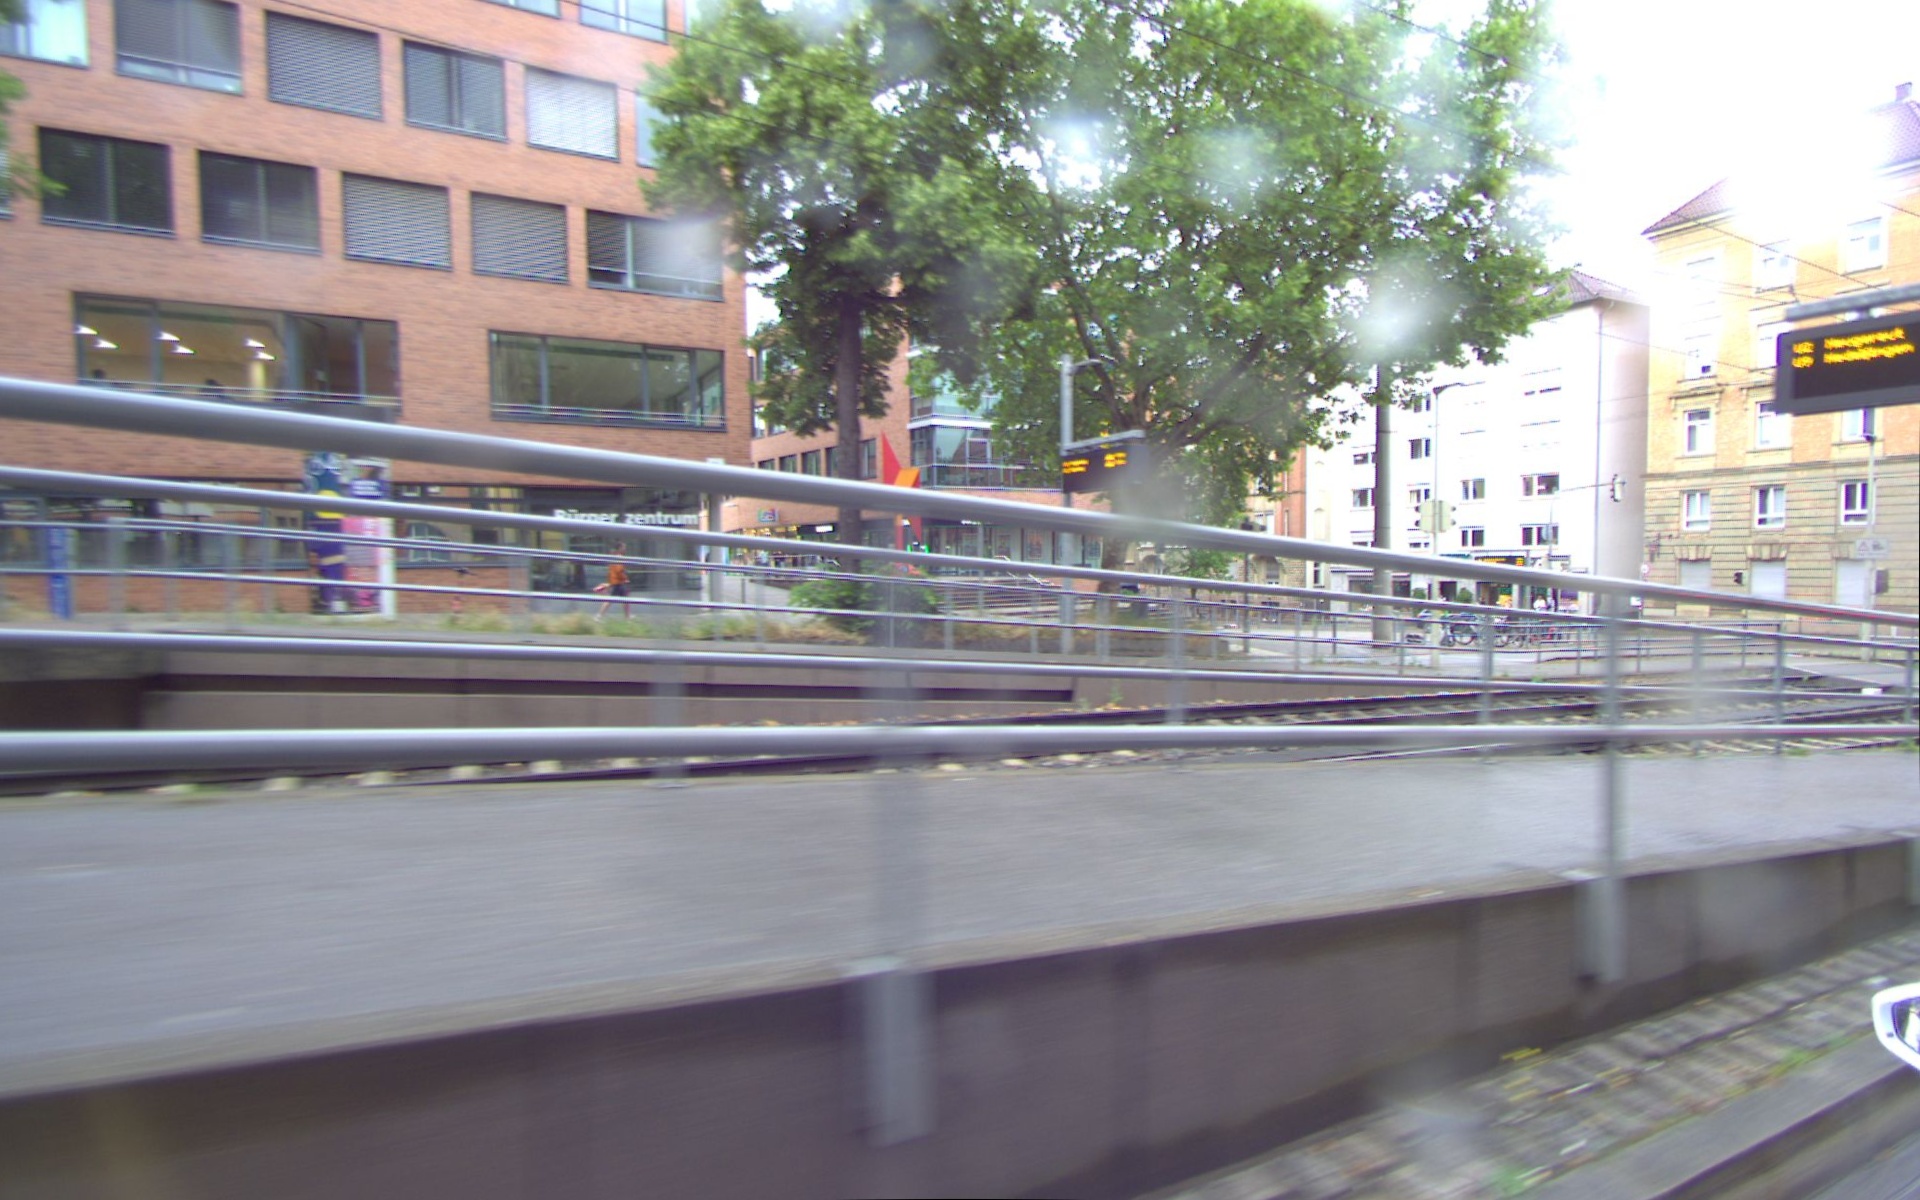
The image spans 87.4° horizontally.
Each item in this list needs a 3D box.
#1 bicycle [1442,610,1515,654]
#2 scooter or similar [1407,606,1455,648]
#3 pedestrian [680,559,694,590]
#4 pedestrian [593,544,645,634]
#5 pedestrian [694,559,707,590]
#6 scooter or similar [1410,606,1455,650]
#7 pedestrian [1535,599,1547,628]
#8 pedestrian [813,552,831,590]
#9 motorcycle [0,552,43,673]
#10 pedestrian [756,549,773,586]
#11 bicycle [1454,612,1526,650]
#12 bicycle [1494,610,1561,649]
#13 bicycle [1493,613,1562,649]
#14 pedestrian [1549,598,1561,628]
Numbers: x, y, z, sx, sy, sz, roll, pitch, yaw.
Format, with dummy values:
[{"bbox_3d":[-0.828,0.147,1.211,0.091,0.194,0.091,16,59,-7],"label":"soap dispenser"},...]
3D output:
[{"bbox_3d":[15.324,0.932,29.720,0.513,1.211,1.856,0,1,-38],"label":"bicycle"},{"bbox_3d":[13.763,0.787,29.359,1.226,1.211,0.300,1,1,11],"label":"scooter or similar"},{"bbox_3d":[-18.350,-1.697,67.585,0.710,2.040,0.714,0,0,-33],"label":"pedestrian"},{"bbox_3d":[-7.950,-0.249,23.436,0.971,2.041,0.727,0,1,-36],"label":"pedestrian"},{"bbox_3d":[-17.584,-1.726,68.058,0.709,2.041,0.714,0,1,-32],"label":"pedestrian"},{"bbox_3d":[13.522,0.803,28.777,1.089,1.211,0.362,1,1,11],"label":"scooter or similar"},{"bbox_3d":[32.358,0.748,55.923,0.508,1.643,0.486,1,1,22],"label":"pedestrian"},{"bbox_3d":[-7.576,-1.574,55.101,0.709,2.040,0.714,0,0,-33],"label":"pedestrian"},{"bbox_3d":[-15.285,0.170,15.510,0.981,1.840,3.022,0,1,-29],"label":"motorcycle"},{"bbox_3d":[-11.166,-1.849,57.403,0.709,2.040,0.714,0,0,-33],"label":"pedestrian"},{"bbox_3d":[16.043,0.932,30.453,0.513,1.076,1.855,0,1,-39],"label":"bicycle"},{"bbox_3d":[17.771,0.917,31.502,0.513,1.158,1.753,0,1,-38],"label":"bicycle"},{"bbox_3d":[18.194,0.965,32.222,0.513,1.079,1.856,0,1,-38],"label":"bicycle"},{"bbox_3d":[32.808,0.695,55.391,0.508,1.643,0.486,1,1,22],"label":"pedestrian"}]
